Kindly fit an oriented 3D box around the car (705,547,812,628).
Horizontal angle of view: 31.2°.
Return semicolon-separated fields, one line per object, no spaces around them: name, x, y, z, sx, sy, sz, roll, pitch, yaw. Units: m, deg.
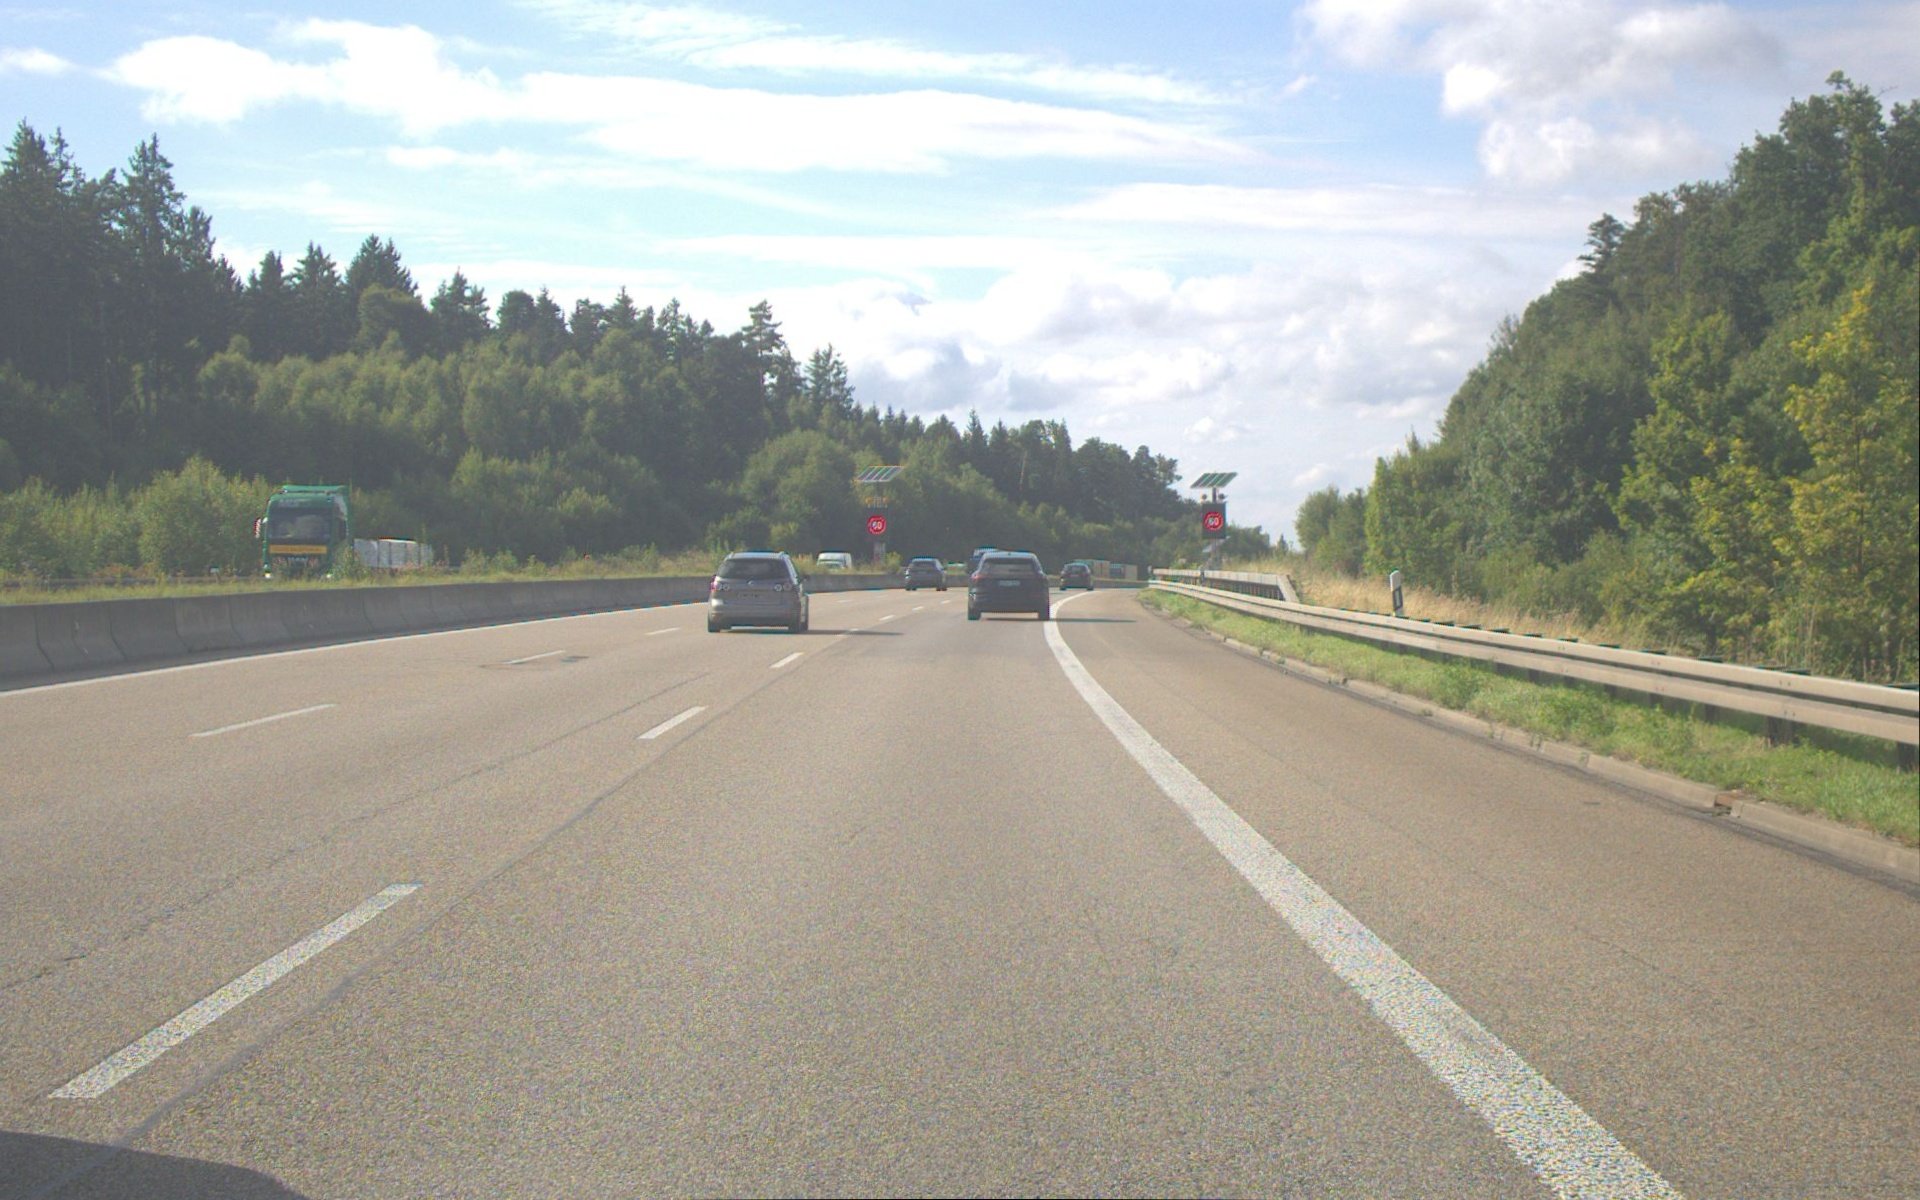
car;-3.878;-0.264;66.726;1.873;1.492;3.880;1;1;-1

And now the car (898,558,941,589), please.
car;-2.073;-1.367;176.557;1.874;1.492;3.879;1;1;4

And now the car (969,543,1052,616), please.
car;1.177;-0.516;82.231;1.873;1.669;3.890;1;1;0

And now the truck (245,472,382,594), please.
truck;-21.741;-2.236;115.858;3.375;3.995;5.863;1;1;1

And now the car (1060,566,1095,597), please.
car;6.642;-1.027;193.884;1.812;1.700;4.000;0;1;4

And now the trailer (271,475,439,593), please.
trailer;-21.602;-2.330;123.754;3.375;3.995;13.640;1;1;1
